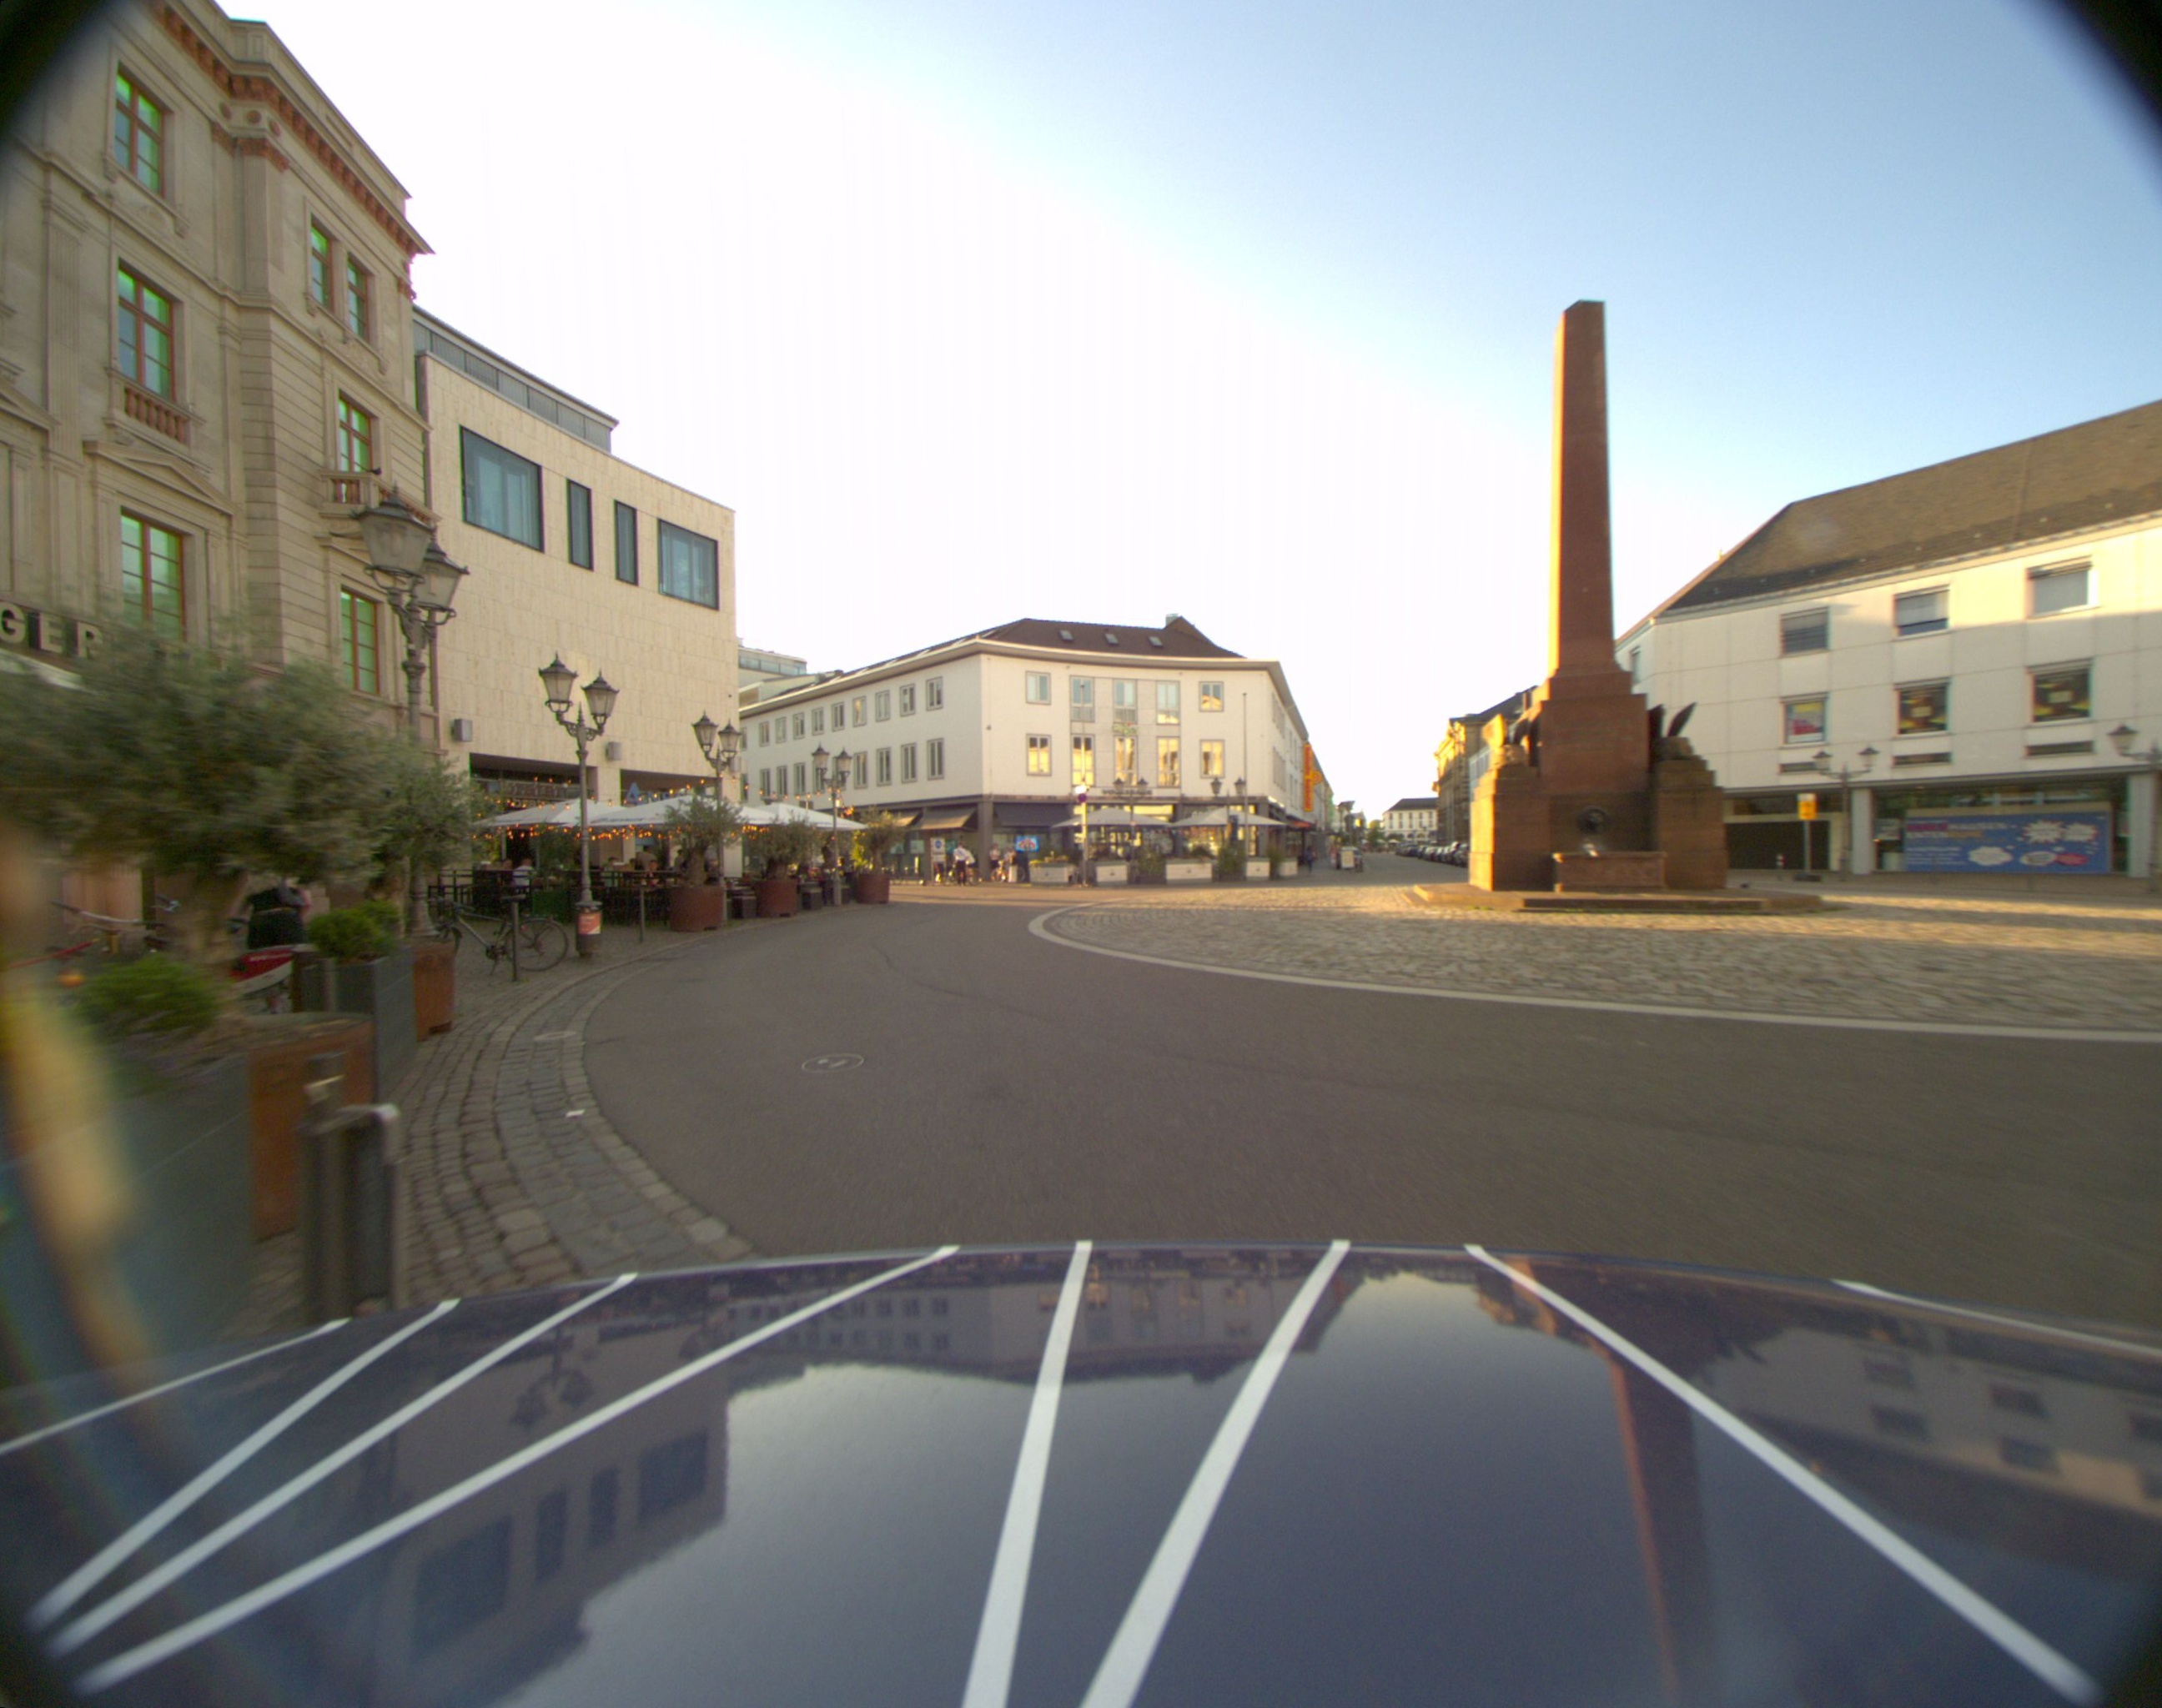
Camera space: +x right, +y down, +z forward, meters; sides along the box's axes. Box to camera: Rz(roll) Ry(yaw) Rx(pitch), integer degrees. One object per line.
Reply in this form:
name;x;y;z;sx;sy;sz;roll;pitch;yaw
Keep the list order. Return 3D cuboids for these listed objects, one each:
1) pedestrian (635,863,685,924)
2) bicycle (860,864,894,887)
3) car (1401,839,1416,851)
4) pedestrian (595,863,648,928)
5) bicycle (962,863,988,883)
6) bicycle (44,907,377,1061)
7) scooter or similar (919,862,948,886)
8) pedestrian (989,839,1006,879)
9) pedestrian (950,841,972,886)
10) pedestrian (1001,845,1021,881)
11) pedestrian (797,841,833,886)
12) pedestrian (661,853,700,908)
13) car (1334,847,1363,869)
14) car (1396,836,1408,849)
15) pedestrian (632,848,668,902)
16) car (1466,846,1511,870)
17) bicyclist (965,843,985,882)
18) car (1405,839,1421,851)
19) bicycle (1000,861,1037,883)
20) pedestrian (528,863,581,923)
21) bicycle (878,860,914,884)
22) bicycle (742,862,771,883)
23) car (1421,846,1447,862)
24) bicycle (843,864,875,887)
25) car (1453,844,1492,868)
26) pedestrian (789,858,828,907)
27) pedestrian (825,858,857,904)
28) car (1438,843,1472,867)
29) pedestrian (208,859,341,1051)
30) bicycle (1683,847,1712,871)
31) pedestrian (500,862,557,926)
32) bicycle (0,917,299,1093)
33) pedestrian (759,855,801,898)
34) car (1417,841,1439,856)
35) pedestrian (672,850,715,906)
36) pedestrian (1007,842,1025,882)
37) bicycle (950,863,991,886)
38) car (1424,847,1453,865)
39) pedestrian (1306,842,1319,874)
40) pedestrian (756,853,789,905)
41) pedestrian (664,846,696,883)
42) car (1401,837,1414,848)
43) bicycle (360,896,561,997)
pedestrian;-10.354;0.958;18.701;0.721;1.439;0.867;0;1;44
bicycle;-10.208;1.073;38.022;1.958;1.135;0.523;0;1;38
car;49.402;-1.335;114.688;1.778;1.657;4.334;-1;1;20
pedestrian;-10.750;0.946;17.792;0.721;1.439;0.867;0;1;44
bicycle;-4.774;0.831;34.306;0.481;0.843;1.486;-1;1;22
bicycle;-7.687;1.086;6.866;0.605;1.121;1.910;0;-1;45
scooter or similar;-6.663;0.895;34.372;1.207;1.005;0.486;-2;1;-39
pedestrian;-3.987;0.227;36.186;0.579;1.912;0.544;-1;1;22
pedestrian;-5.189;0.404;32.783;0.643;1.917;0.629;0;1;44
pedestrian;-3.287;0.406;35.702;0.618;1.667;0.735;-1;1;22
pedestrian;-10.278;0.360;29.393;0.932;1.731;0.922;-1;1;16
pedestrian;-13.348;0.880;25.323;0.728;1.792;0.851;-1;1;28
car;18.409;0.238;52.339;1.778;1.416;3.966;-1;1;19
car;55.840;-1.992;132.167;1.778;2.214;4.334;-1;1;20
pedestrian;-14.128;0.680;24.896;0.708;1.737;0.718;-1;1;26
car;25.329;0.230;47.322;1.778;1.416;3.966;-1;0;18
bicyclist;-4.769;0.375;34.281;0.481;1.733;0.836;-1;1;22
car;47.567;-1.233;108.851;1.778;1.657;4.334;-1;1;20
bicycle;-2.869;0.811;34.850;1.680;0.928;0.473;-1;1;-33
pedestrian;-13.346;0.972;19.252;0.773;1.439;0.854;-1;1;35
bicycle;-8.926;0.842;36.618;1.958;1.135;0.523;0;1;38
bicycle;-19.860;1.131;46.518;2.227;1.210;0.800;-1;1;43
car;34.052;-0.018;73.418;1.778;1.483;4.334;-1;0;18
bicycle;-11.472;1.092;39.229;1.958;1.135;0.523;0;1;38
car;26.668;0.117;51.853;1.778;1.506;3.966;-1;1;18
pedestrian;-8.442;0.869;23.541;0.721;1.439;0.867;0;1;44
pedestrian;-7.674;0.851;24.326;0.721;1.439;0.695;0;1;44
car;28.344;0.030;57.680;1.778;1.718;4.334;-1;1;18
pedestrian;-7.221;0.845;6.807;0.747;1.579;0.716;-1;1;38
bicycle;30.471;0.248;37.553;0.480;1.149;1.952;-1;1;19
pedestrian;-13.080;0.931;17.995;0.773;1.439;0.854;-1;1;34
bicycle;-7.321;1.093;5.770;0.605;1.121;1.910;0;-1;45
pedestrian;-10.368;0.770;26.183;0.969;1.439;0.947;-1;1;35
car;39.106;-0.611;85.679;1.778;1.657;4.334;-1;1;18
pedestrian;-12.763;0.787;25.052;0.727;1.792;0.984;-1;1;27
pedestrian;-2.945;0.374;34.540;0.508;1.808;0.720;-1;1;22
bicycle;-4.783;0.870;32.876;1.680;0.928;0.473;-1;1;-33
car;32.000;0.162;68.080;1.778;1.483;4.334;-1;0;18
pedestrian;12.447;0.228;40.895;0.603;1.691;0.714;-1;1;14
pedestrian;-10.529;0.834;25.952;0.715;1.737;0.711;-1;1;17
pedestrian;-14.977;0.385;28.365;0.708;1.341;0.785;-1;1;34
car;54.281;-1.883;126.243;1.778;1.657;4.334;-1;1;20
bicycle;-7.743;1.121;9.606;1.910;1.121;0.606;1;-1;-34
